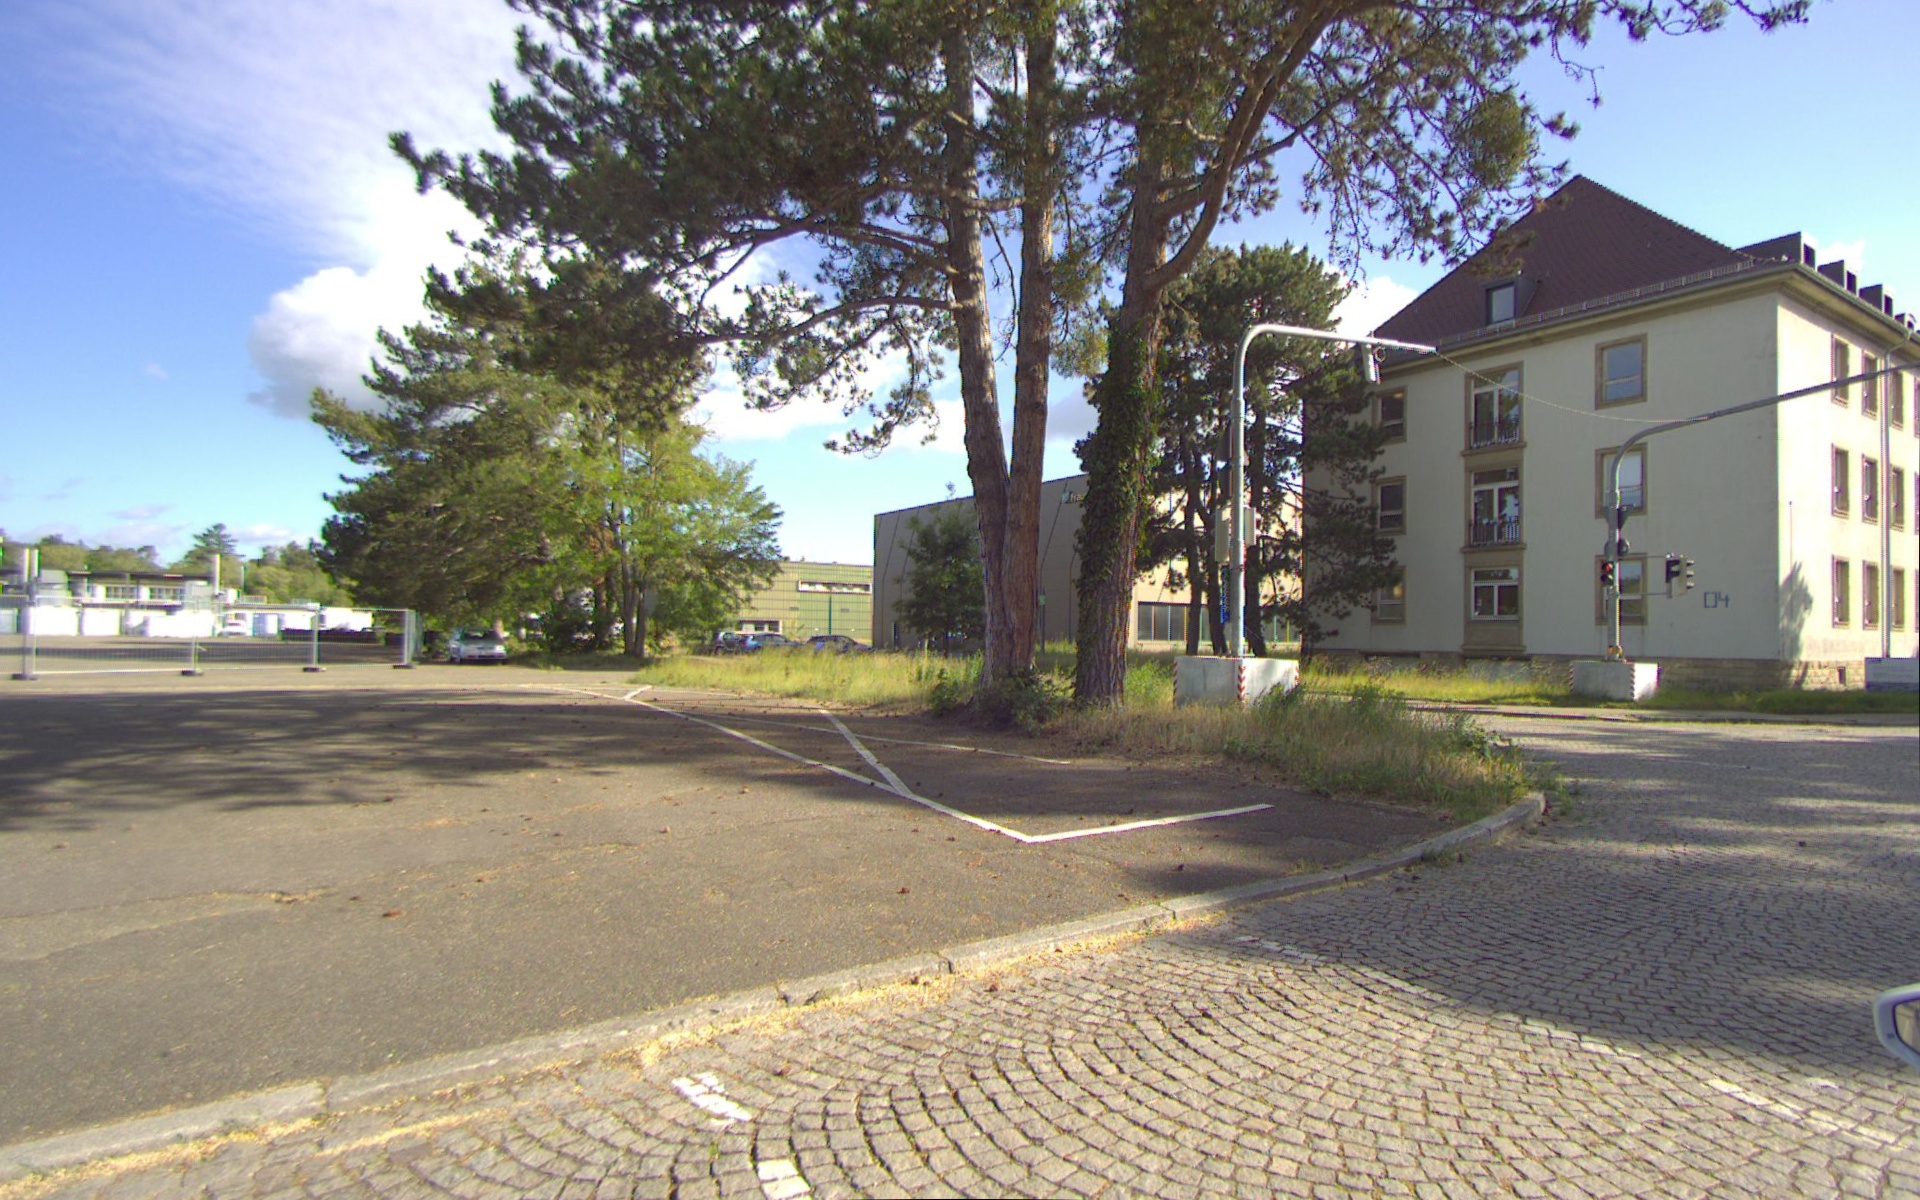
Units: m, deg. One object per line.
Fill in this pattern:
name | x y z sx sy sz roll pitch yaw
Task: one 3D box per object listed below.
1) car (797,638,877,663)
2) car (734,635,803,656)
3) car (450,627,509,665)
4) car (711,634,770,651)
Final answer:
car | -6.590 2.724 54.028 4.005 1.311 1.479 2 -2 -31
car | -11.760 2.814 61.761 3.953 1.221 1.480 2 -2 -30
car | -18.881 1.780 39.399 1.727 1.388 3.592 2 -2 -31
car | -14.901 2.868 68.219 3.636 1.090 1.399 2 -2 -30
